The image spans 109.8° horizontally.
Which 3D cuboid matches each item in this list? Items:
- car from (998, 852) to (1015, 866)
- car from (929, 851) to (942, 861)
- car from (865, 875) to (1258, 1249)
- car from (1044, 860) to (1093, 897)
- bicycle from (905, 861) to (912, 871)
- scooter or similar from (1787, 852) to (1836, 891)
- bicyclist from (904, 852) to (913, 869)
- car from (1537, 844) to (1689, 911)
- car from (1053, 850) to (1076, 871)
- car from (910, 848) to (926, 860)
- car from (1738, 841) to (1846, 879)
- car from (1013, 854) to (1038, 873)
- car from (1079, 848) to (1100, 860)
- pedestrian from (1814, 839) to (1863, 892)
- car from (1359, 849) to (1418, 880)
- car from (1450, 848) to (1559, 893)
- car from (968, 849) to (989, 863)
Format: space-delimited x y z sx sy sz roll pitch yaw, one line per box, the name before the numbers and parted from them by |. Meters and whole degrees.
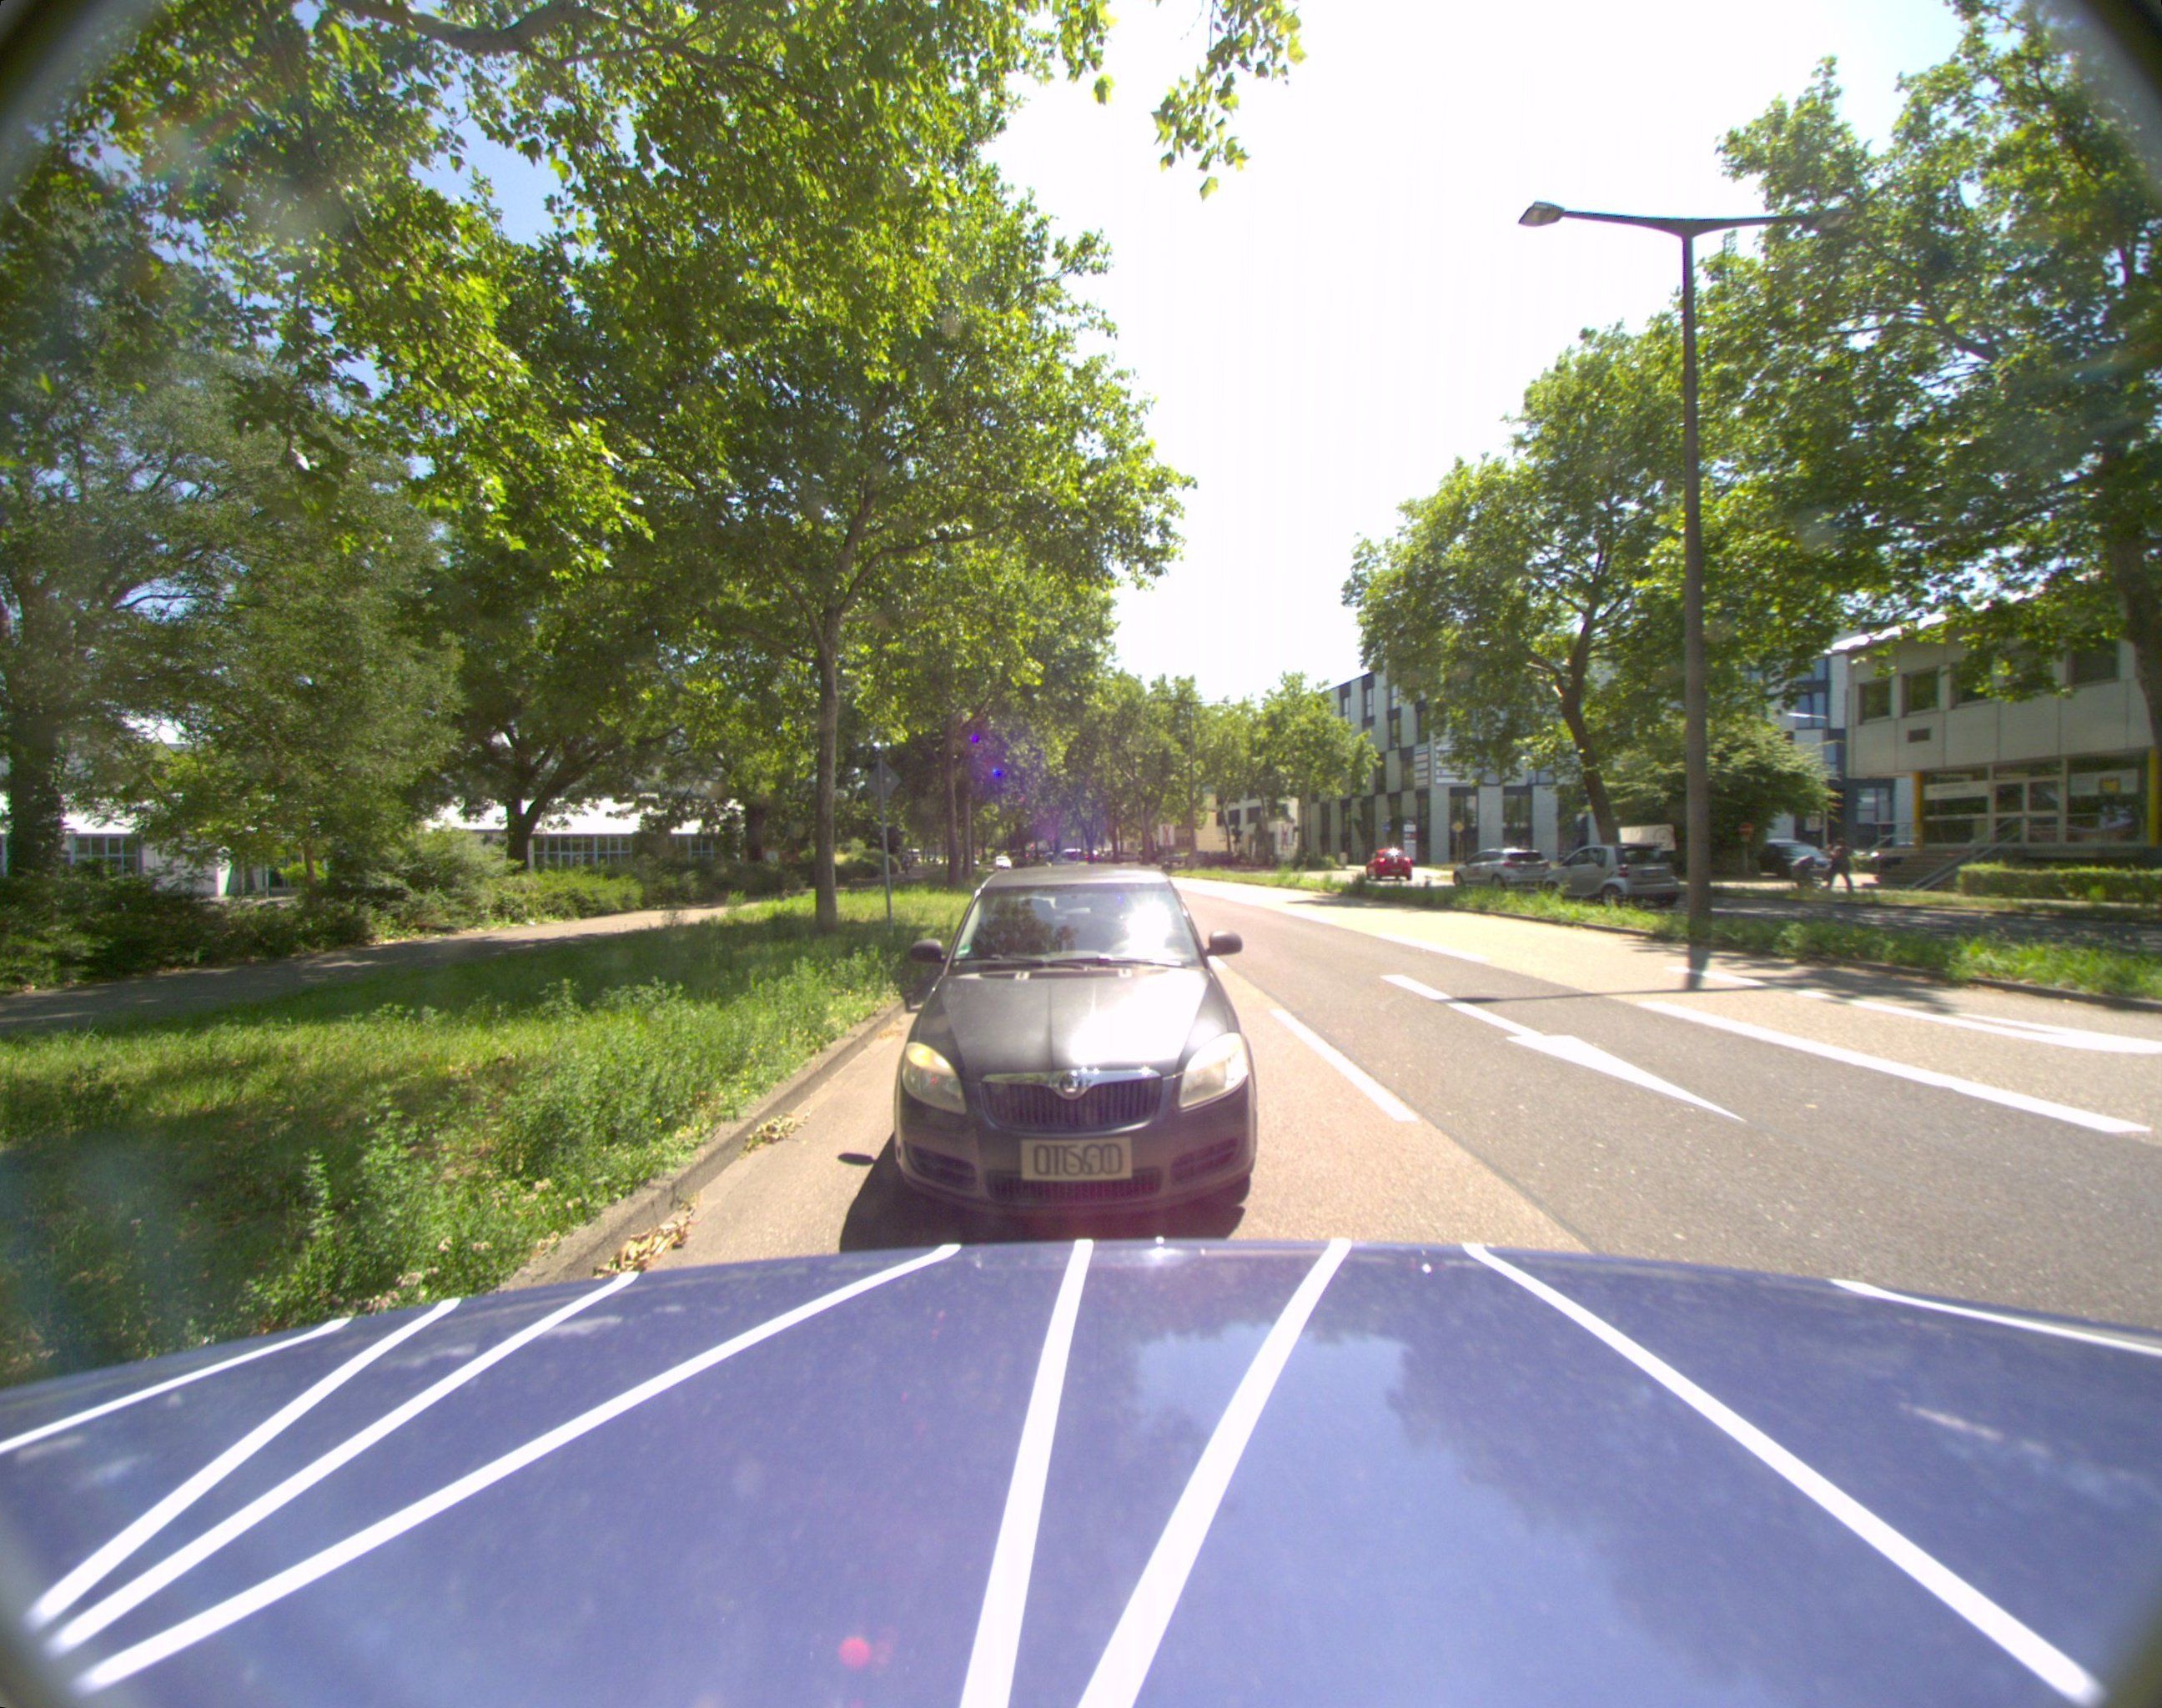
car | -8.162 0.530 82.902 1.624 1.437 3.649 -1 0 -8
car | -27.237 0.412 141.851 2.001 1.783 3.994 -1 0 -17
car | -0.058 0.952 5.191 1.654 1.453 3.865 -1 0 1
car | -0.536 0.941 30.552 1.791 1.325 3.742 -2 0 -2
bicycle | -13.824 0.986 60.895 0.465 0.760 1.667 -1 0 -9
scooter or similar | 22.364 0.524 23.285 0.680 1.157 0.859 -1 1 -1
bicyclist | -13.811 0.502 60.908 0.601 1.331 0.665 -1 1 -8
car | 13.034 0.531 18.794 1.537 1.519 2.852 -1 0 -9
car | -1.419 0.547 67.057 1.859 1.745 4.648 -1 0 0
car | -34.850 0.003 162.409 2.922 2.639 6.357 -1 0 -17
car | 32.815 0.247 35.206 1.819 1.638 3.528 -2 1 4
car | -4.572 0.779 62.045 1.879 1.448 3.783 -2 0 -7
car | 1.172 -0.018 104.505 1.956 1.600 3.995 -1 0 -14
pedestrian | 22.369 0.333 22.444 0.643 1.551 0.791 -1 1 -1
car | 14.997 0.488 37.219 1.675 1.453 3.531 -1 0 4
car | 14.698 0.529 26.607 1.756 1.435 3.672 -1 0 0
car | -14.648 0.270 108.464 2.002 1.871 3.993 -1 0 -21
